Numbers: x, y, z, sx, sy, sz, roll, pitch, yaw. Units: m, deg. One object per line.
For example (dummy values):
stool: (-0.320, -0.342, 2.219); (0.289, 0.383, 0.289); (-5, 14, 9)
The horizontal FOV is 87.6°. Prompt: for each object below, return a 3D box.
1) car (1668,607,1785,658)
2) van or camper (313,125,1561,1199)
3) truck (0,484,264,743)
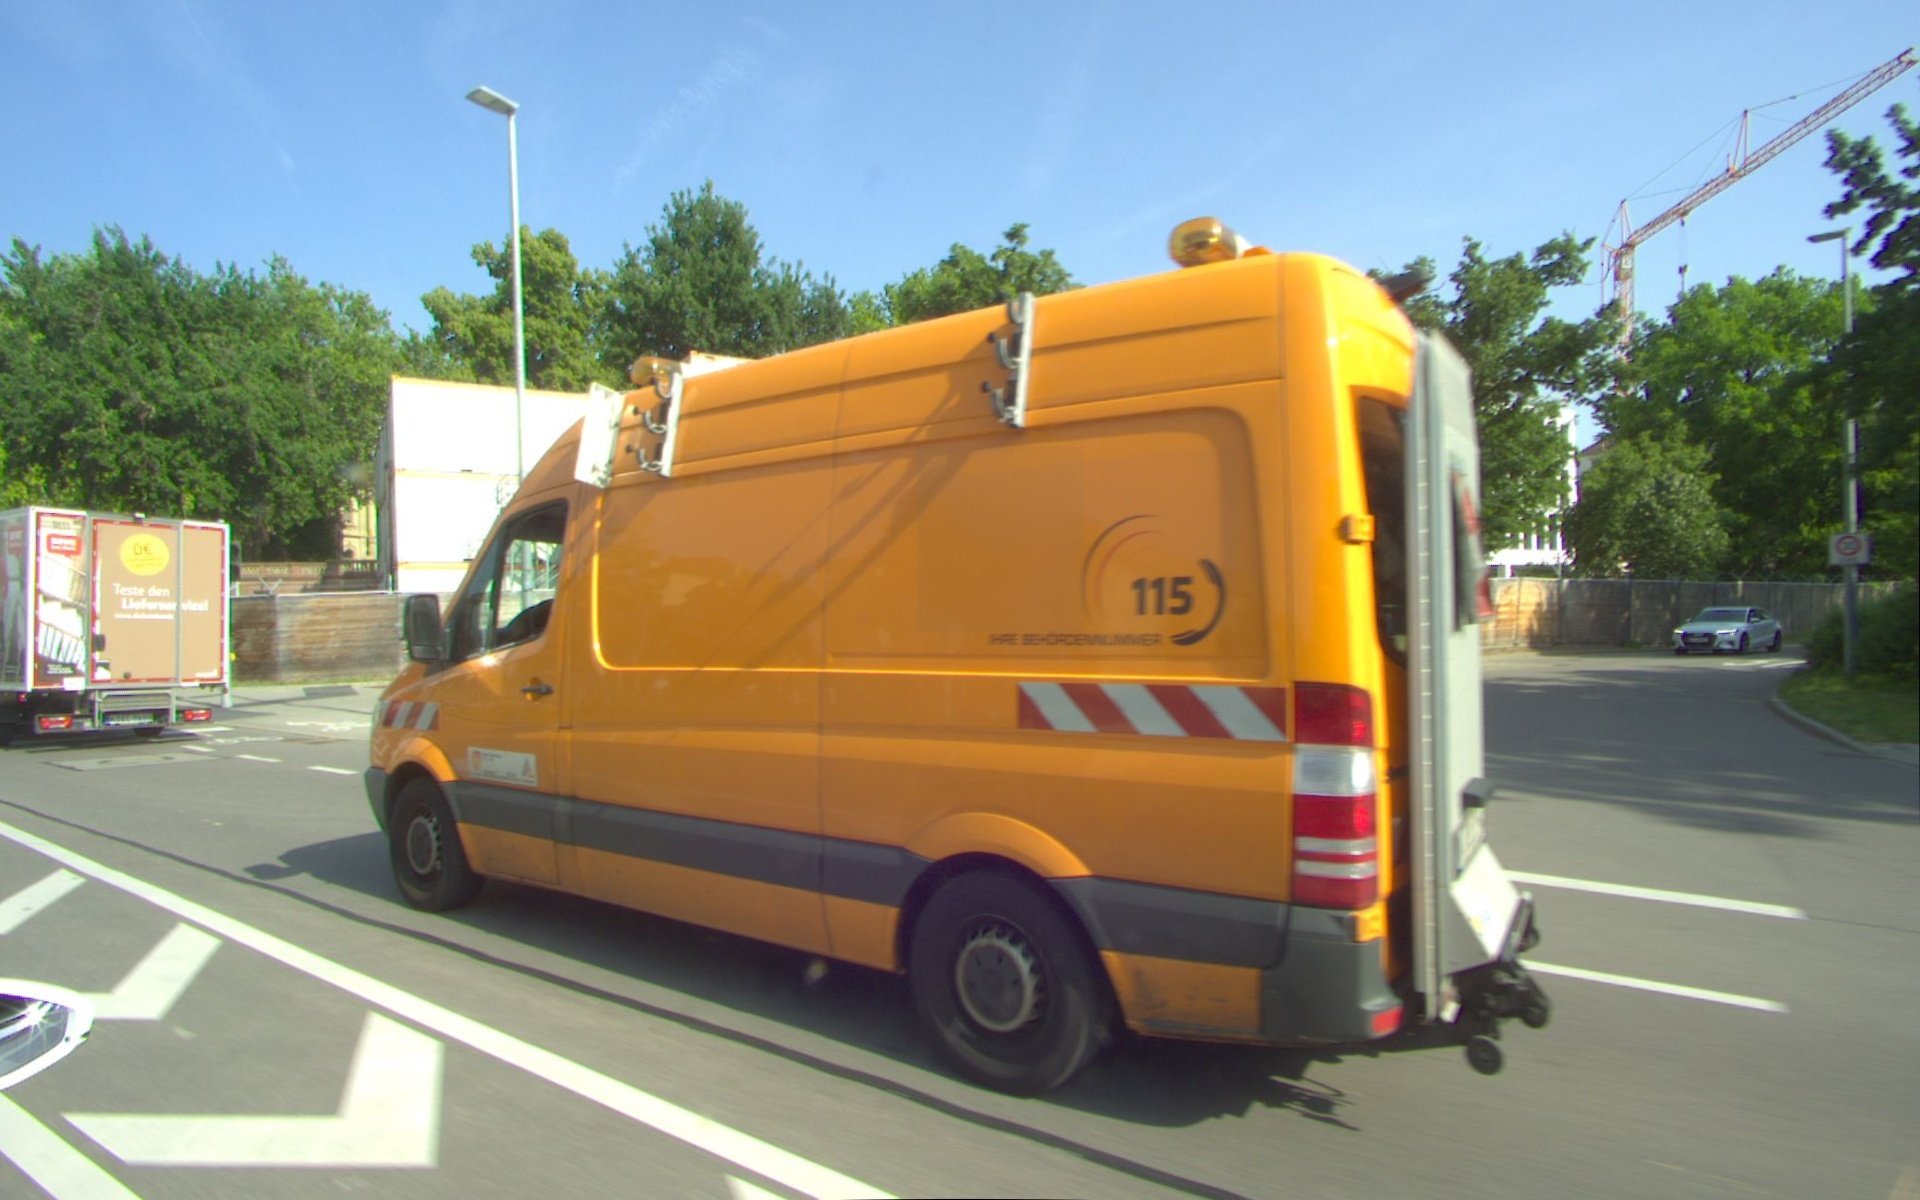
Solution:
car: (23.605, 0.965, 30.794); (3.869, 1.416, 1.750); (-1, 0, -34)
van or camper: (-0.679, 0.242, 4.782); (5.980, 2.504, 1.980); (-1, 0, 35)
truck: (-13.843, 0.302, 15.021); (7.703, 3.099, 2.500); (-2, -2, 30)
